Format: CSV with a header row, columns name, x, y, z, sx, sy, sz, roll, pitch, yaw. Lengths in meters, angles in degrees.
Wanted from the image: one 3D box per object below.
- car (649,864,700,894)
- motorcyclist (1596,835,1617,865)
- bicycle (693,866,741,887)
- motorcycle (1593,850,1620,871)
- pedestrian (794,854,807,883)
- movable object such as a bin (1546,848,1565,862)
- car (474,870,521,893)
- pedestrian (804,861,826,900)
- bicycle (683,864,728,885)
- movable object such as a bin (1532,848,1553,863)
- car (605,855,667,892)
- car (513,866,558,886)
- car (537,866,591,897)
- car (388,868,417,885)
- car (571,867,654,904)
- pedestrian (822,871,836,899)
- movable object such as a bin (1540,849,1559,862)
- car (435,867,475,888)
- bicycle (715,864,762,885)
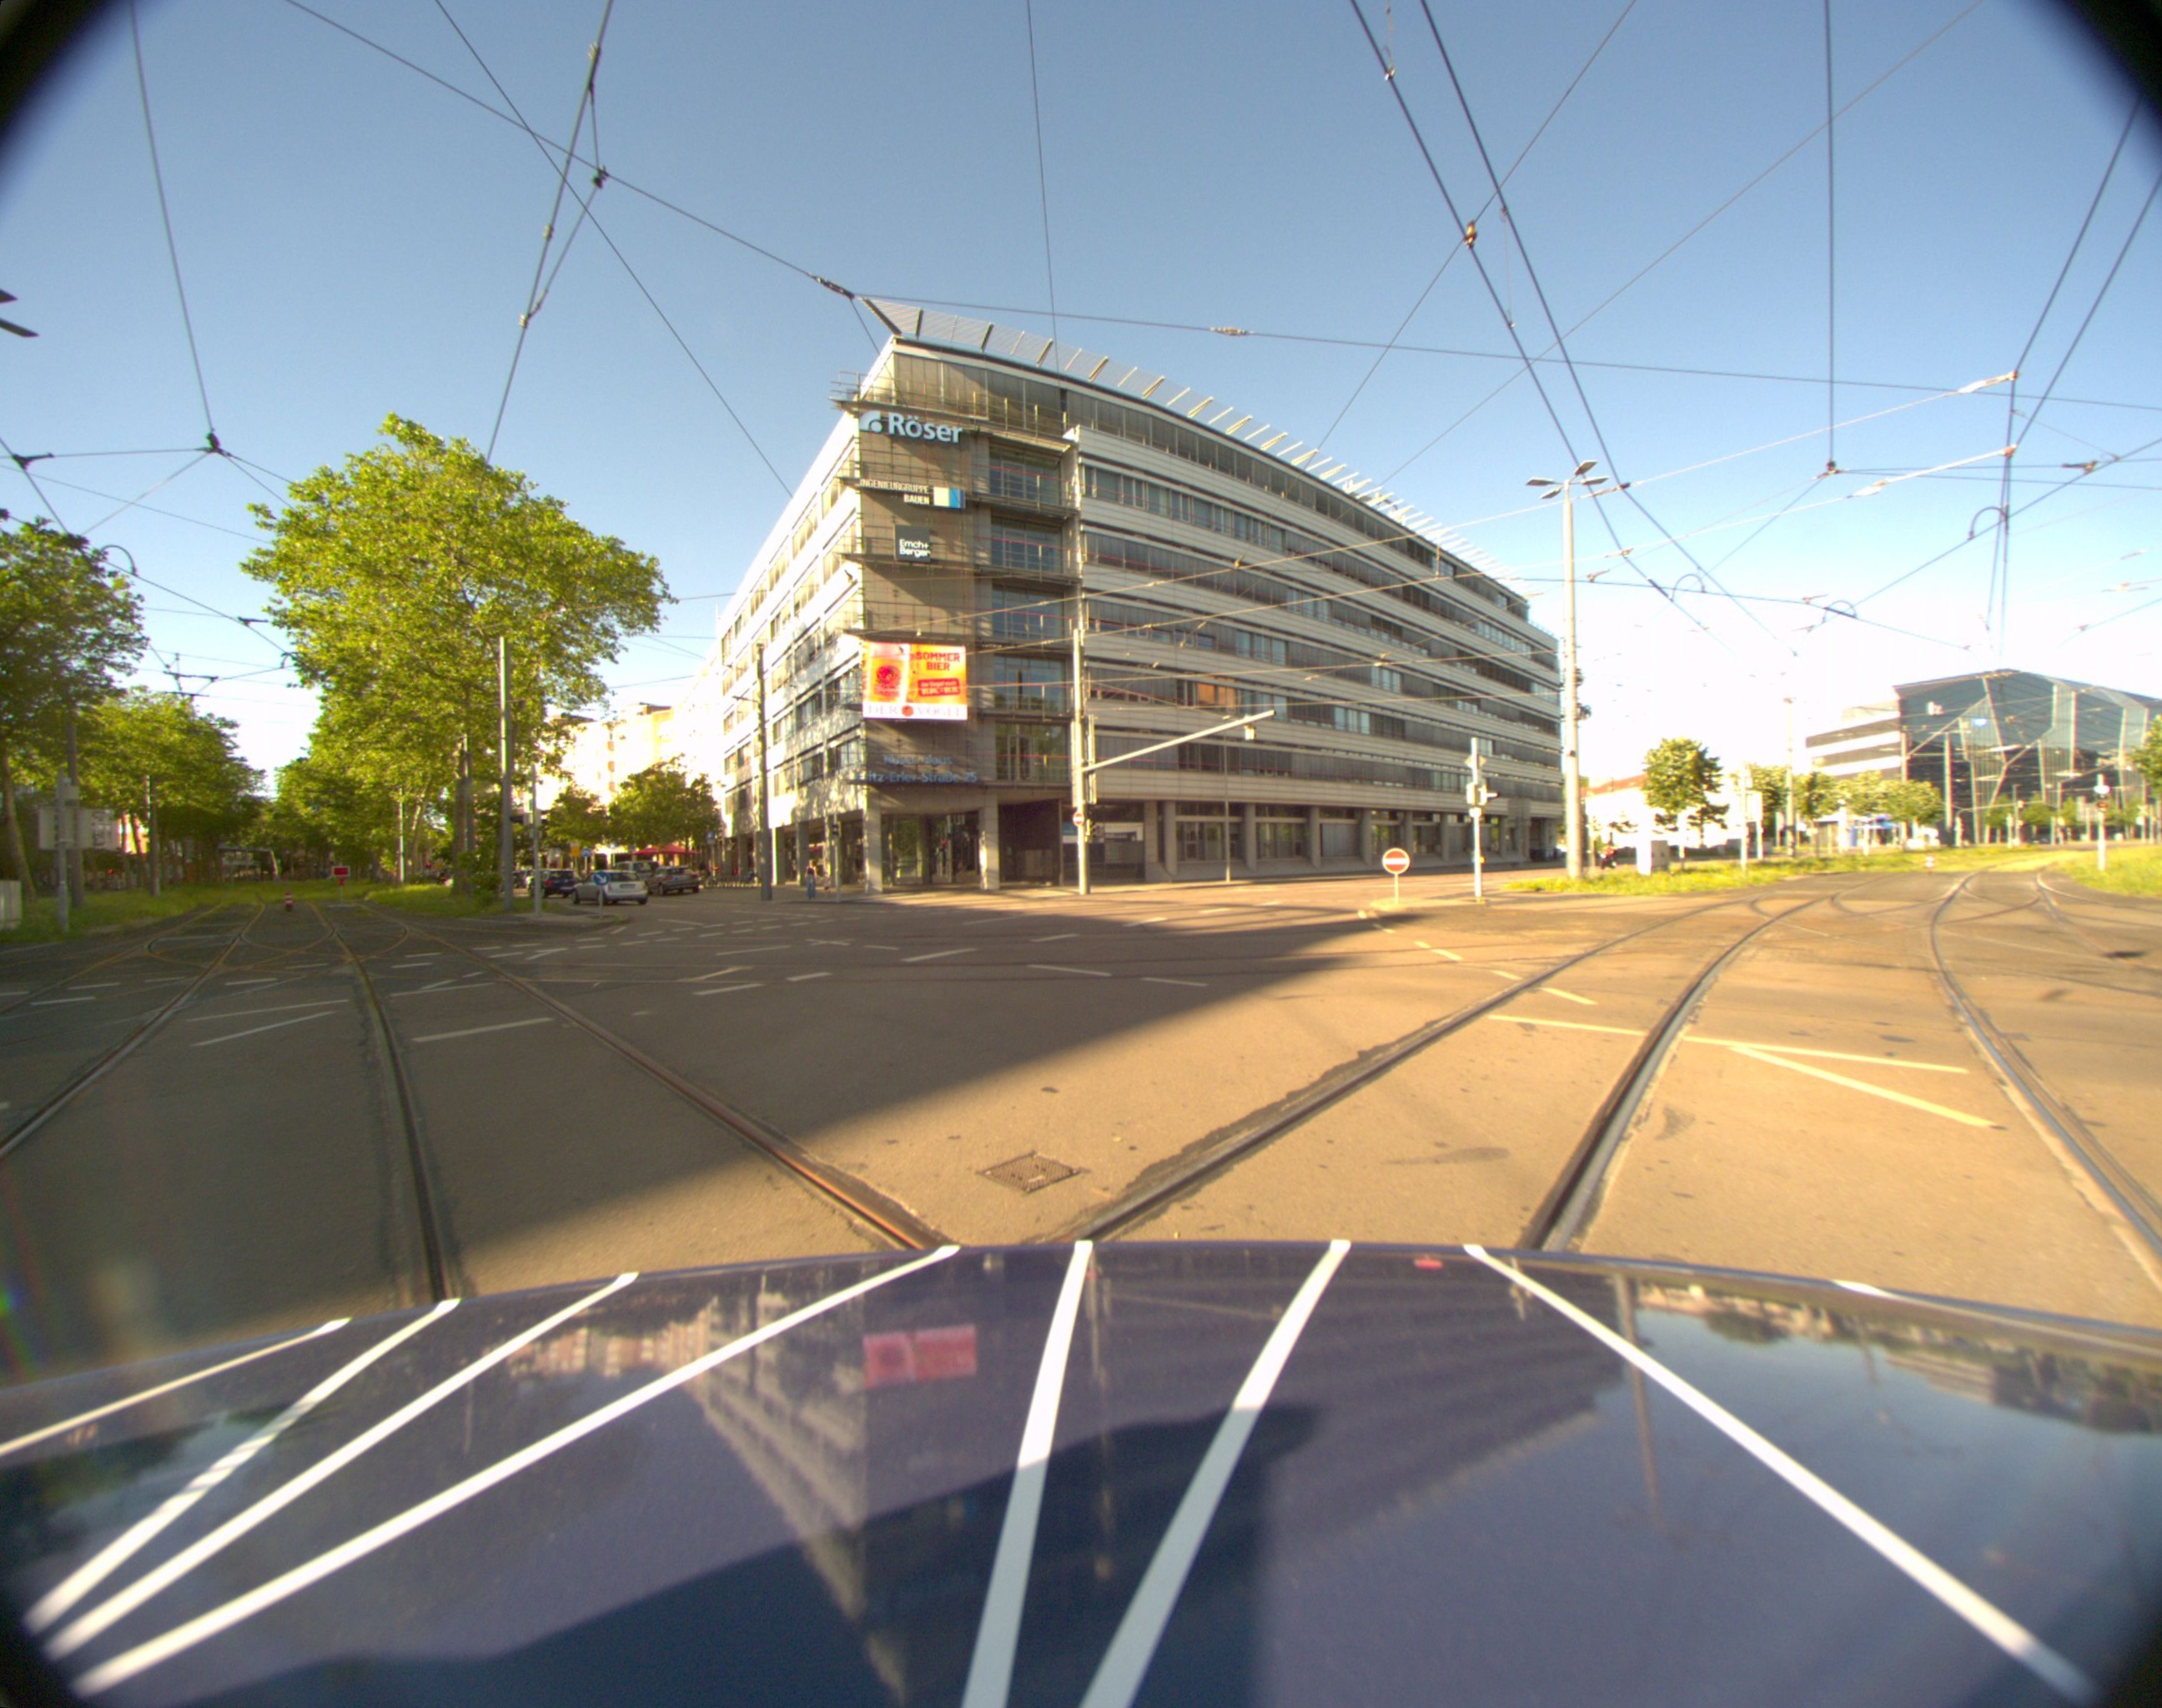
name,x,y,z,sx,sy,sz,roll,pitch,yaw
car,-21.594,1.304,40.296,1.870,1.466,3.967,-1,0,-35
motorcyclist,33.012,-0.249,47.699,1.114,1.846,0.819,-2,1,-39
bicycle,-21.370,1.300,44.649,0.773,1.206,2.400,-2,-1,36
motorcycle,32.982,0.392,47.689,2.260,1.214,0.819,-1,1,-39
pedestrian,-17.084,0.866,46.255,0.588,1.723,0.791,-2,-1,-28
movable object such as a bin,46.094,0.122,73.798,1.331,1.293,1.171,-1,0,-36
car,-38.322,1.813,49.850,4.008,1.432,1.704,-2,0,42
pedestrian,-11.353,1.124,32.424,0.662,1.630,0.791,-1,-1,-40
bicycle,-23.234,1.268,47.086,0.773,1.206,2.400,-2,-1,36
movable object such as a bin,42.893,0.156,70.585,1.176,1.293,1.325,-2,0,-36
car,-25.927,1.120,44.187,4.445,2.004,1.871,-1,0,43
car,-43.449,1.759,60.495,3.966,1.466,1.871,-1,0,38
car,-26.738,1.405,39.262,1.871,1.466,3.967,-1,0,-40
car,-74.984,2.471,83.947,4.304,1.758,1.827,-3,-1,40
car,-18.833,1.238,30.519,3.526,1.380,1.670,-1,-1,37
pedestrian,-10.879,1.323,32.820,0.444,1.203,0.460,-1,-1,-40
movable object such as a bin,45.067,0.140,73.058,1.331,1.293,1.171,-1,0,-36
car,-46.400,1.720,56.318,3.970,1.466,1.704,-1,0,42
bicycle,-19.845,1.185,44.054,2.399,1.206,0.773,0,-1,-34
